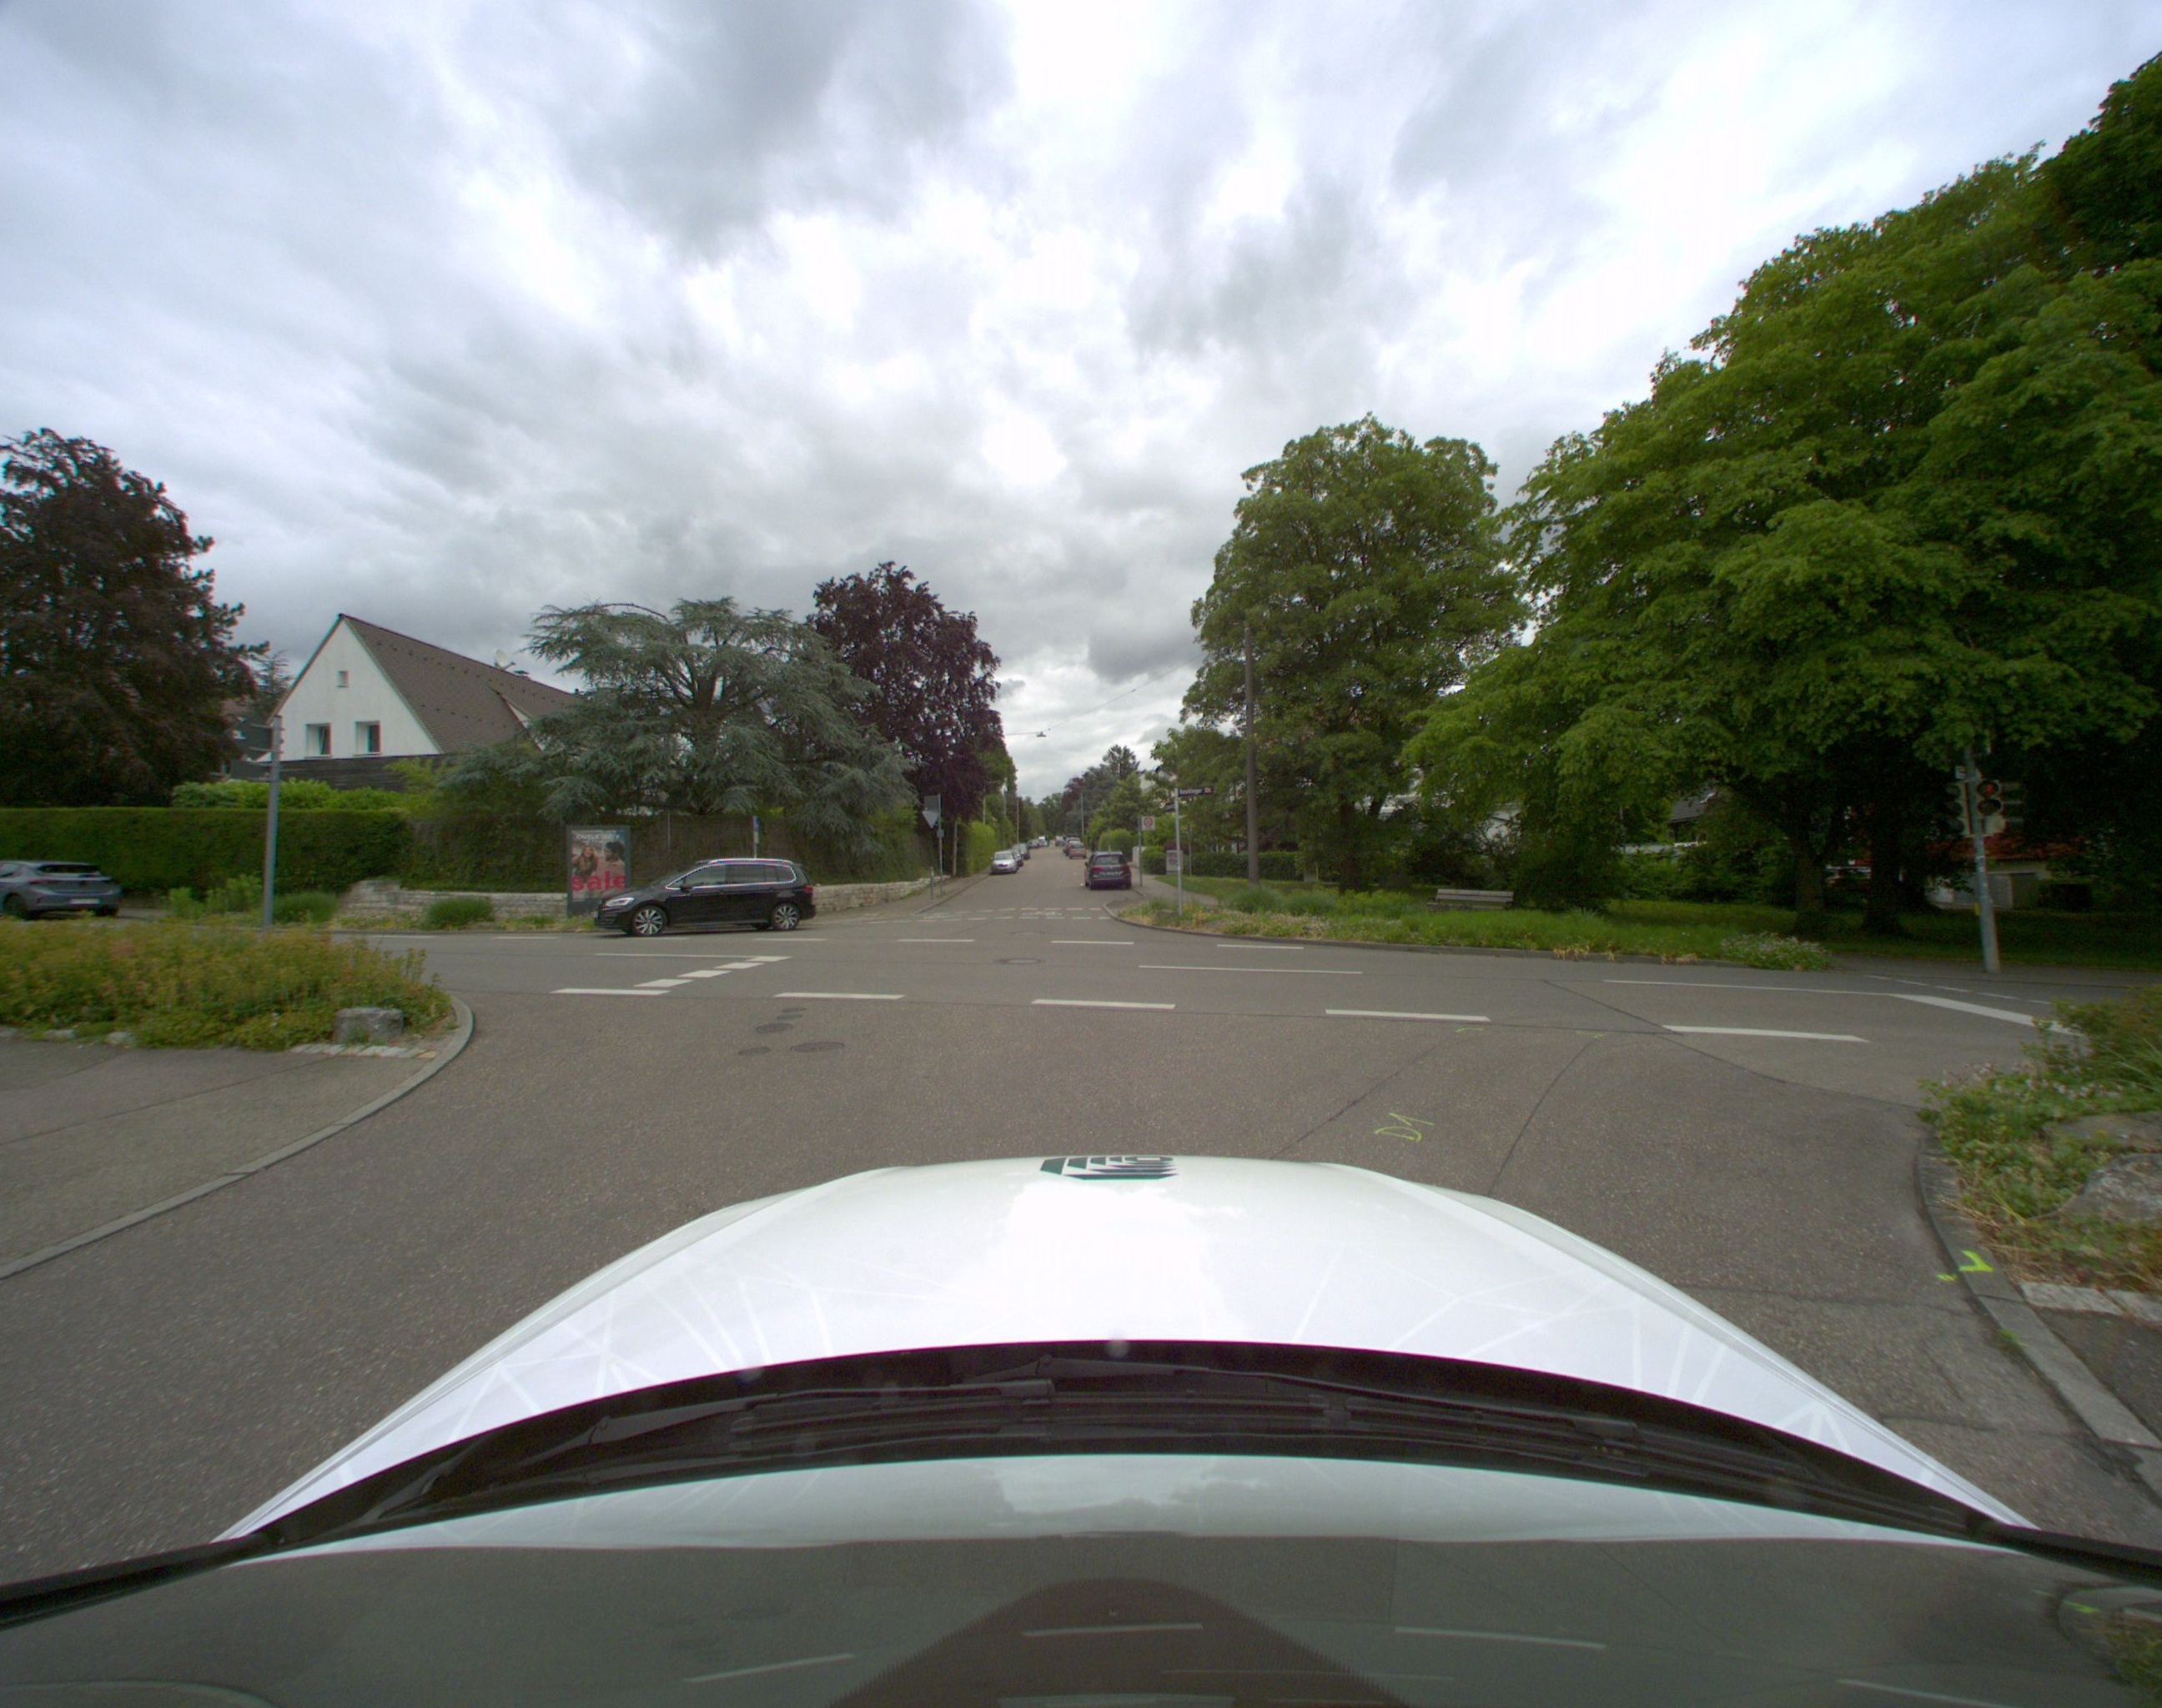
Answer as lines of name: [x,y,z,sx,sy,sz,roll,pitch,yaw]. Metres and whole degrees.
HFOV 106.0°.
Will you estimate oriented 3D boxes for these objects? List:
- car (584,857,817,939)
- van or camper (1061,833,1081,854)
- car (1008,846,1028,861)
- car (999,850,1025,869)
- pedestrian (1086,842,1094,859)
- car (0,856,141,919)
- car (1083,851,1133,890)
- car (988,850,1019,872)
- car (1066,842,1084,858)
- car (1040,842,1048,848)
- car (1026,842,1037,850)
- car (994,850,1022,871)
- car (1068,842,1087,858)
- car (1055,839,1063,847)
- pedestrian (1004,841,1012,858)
car: [-8.322,0.892,18.068,4.335,1.612,1.831,0,-2,-43]
van or camper: [-1.256,-1.262,100.342,2.109,2.405,5.237,-1,0,-5]
car: [-6.426,-0.014,82.951,1.943,1.442,3.994,-1,0,-4]
car: [-5.497,0.435,65.319,1.943,1.442,3.994,-1,0,-4]
pedestrian: [1.010,-0.365,90.939,0.755,1.871,0.619,1,0,-3]
car: [-26.293,0.807,20.332,3.961,1.464,1.866,1,-2,11]
car: [1.109,0.666,35.143,1.813,1.536,3.996,-2,0,-3]
car: [-5.150,0.446,54.847,1.943,1.442,3.994,-1,0,-4]
car: [-0.710,-0.394,88.491,1.743,1.640,3.723,-1,0,-4]
car: [-8.429,-1.973,183.485,1.650,1.335,3.780,1,0,-1]
car: [-8.685,-1.374,142.828,1.710,1.463,3.653,1,0,-2]
car: [-5.314,0.451,59.990,1.943,1.442,3.994,-1,0,-4]
car: [-0.356,-0.393,78.476,1.606,1.413,3.467,1,0,-5]
car: [-4.799,-2.457,177.786,1.811,1.574,3.996,-1,0,-3]
pedestrian: [-8.696,-0.506,96.902,0.852,2.013,0.870,1,0,-8]
